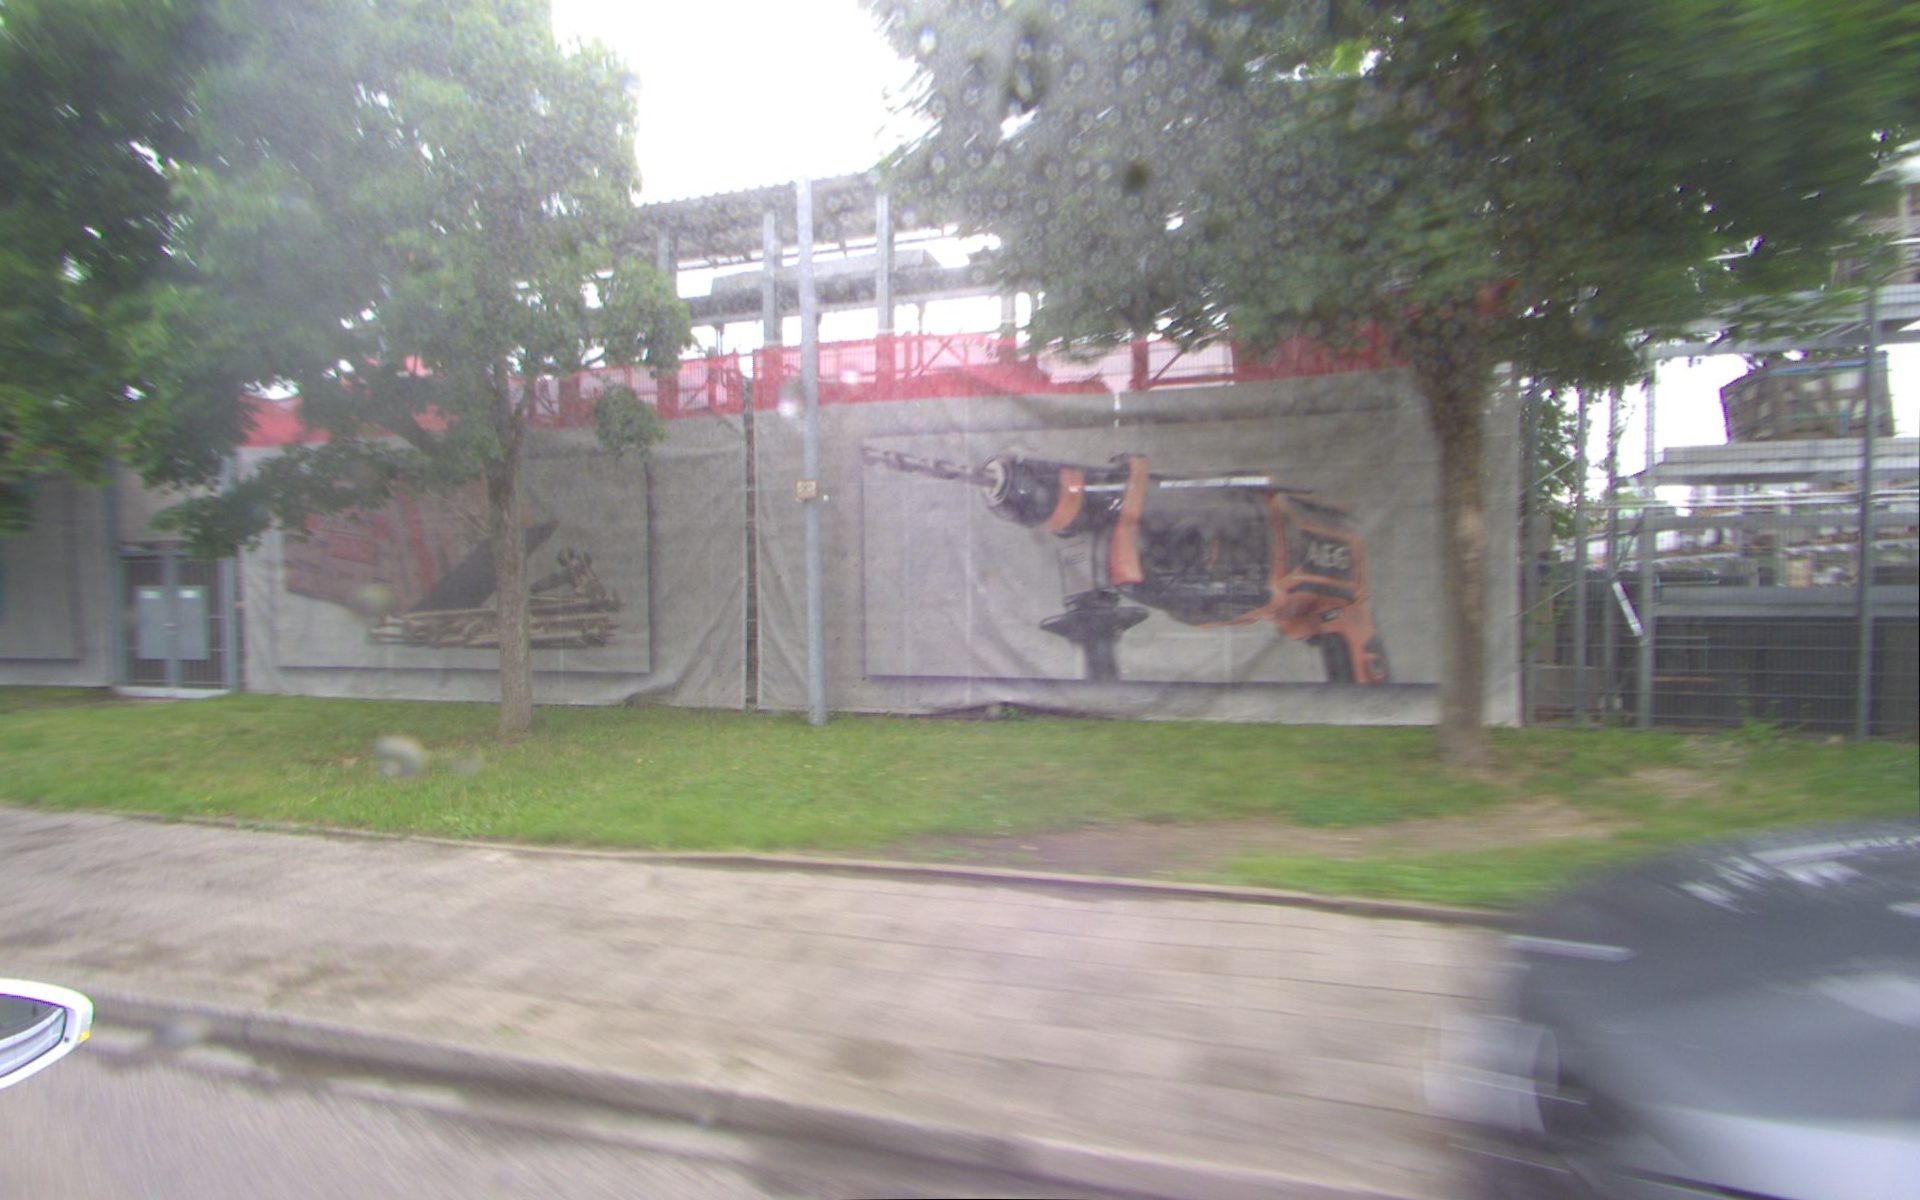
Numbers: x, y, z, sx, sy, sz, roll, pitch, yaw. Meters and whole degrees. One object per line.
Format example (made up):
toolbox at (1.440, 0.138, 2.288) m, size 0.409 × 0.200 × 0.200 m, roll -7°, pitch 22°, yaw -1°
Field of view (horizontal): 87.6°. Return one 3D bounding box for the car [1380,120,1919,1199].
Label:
car at (2.852, 0.602, 0.902) m, size 4.400 × 1.763 × 1.913 m, roll 0°, pitch -2°, yaw 18°
